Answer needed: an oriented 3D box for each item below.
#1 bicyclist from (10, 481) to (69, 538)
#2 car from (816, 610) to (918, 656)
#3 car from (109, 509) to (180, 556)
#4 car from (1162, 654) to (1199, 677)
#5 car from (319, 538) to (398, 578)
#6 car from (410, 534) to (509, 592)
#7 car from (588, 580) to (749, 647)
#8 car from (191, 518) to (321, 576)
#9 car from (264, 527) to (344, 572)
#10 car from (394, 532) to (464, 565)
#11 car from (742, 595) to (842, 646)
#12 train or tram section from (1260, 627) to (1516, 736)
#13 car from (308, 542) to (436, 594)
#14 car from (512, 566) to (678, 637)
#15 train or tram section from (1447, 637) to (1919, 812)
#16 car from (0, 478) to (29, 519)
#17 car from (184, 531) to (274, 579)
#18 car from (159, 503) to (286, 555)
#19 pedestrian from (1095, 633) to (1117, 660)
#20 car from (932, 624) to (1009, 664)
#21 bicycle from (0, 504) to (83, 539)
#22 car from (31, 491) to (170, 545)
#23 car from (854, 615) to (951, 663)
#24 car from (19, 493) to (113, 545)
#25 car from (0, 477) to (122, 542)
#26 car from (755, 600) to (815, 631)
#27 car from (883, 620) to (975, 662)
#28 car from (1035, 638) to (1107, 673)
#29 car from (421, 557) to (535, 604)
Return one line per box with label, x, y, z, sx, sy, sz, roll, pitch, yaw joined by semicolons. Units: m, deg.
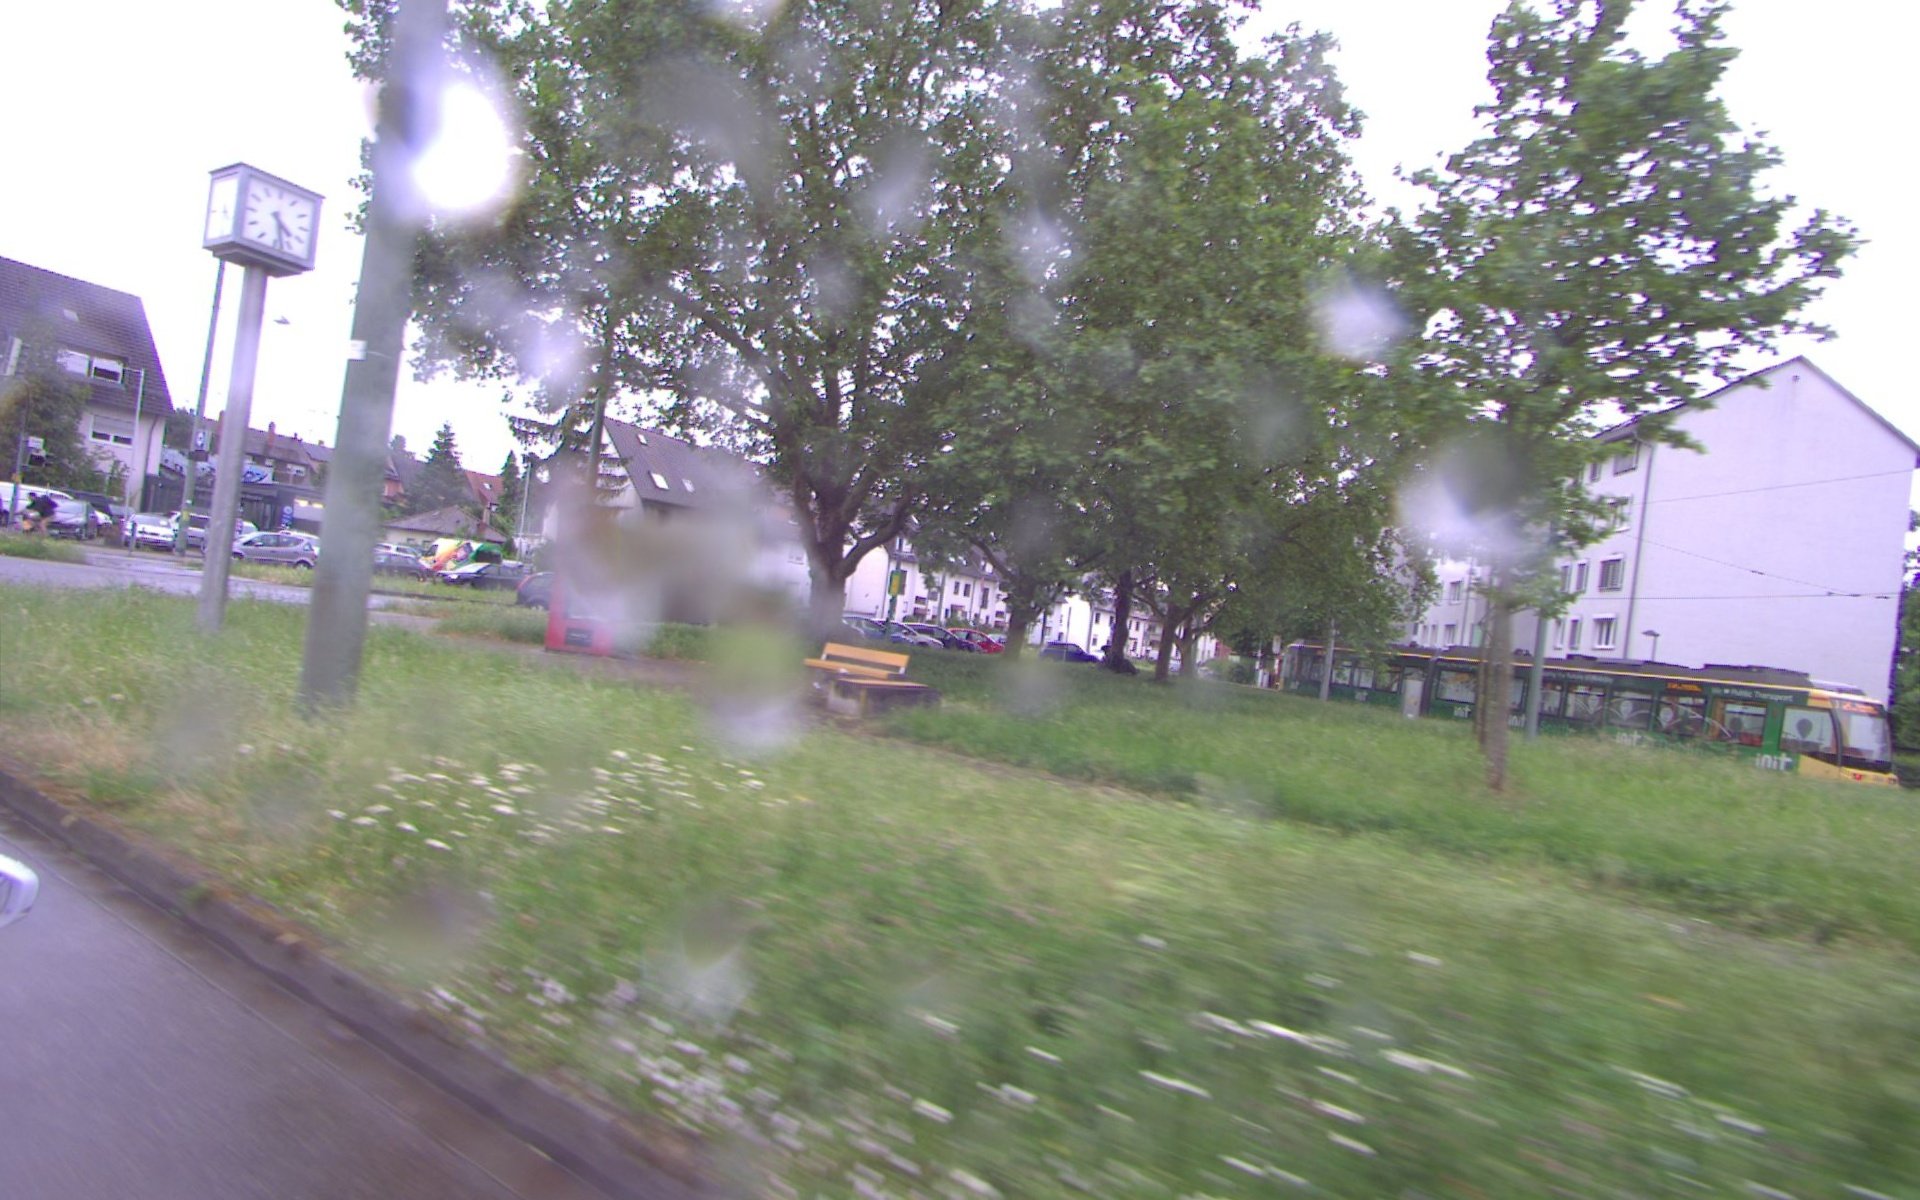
bicyclist;-29.382;-2.885;32.126;0.933;1.617;1.041;7;0;29
car;-3.767;1.350;40.899;3.928;1.518;1.824;5;-2;-6
car;-33.516;-2.782;41.314;1.824;1.520;4.009;11;-4;-43
car;19.149;5.666;87.099;1.928;1.570;3.998;5;-3;29
car;-29.314;-2.048;49.025;3.780;1.411;1.721;7;-3;34
car;-27.483;-2.027;55.223;5.062;2.432;2.151;7;-3;31
car;-9.313;0.450;32.345;4.464;1.494;1.805;8;-1;5
car;-27.431;-2.029;39.286;1.693;1.520;3.644;7;-3;29
car;-30.526;-2.371;46.812;3.559;1.590;1.721;7;-3;34
car;-36.079;-3.464;68.472;1.759;1.599;4.452;7;-2;9
car;-6.307;0.793;38.070;3.454;1.523;1.755;6;-2;-5
train or tram section;19.343;3.484;47.511;2.672;3.630;14.708;9;-2;-12
car;-25.234;-1.339;43.320;1.694;1.352;4.389;7;-4;31
car;-10.756;0.066;29.844;4.100;1.494;1.805;8;-1;1
train or tram section;22.444;3.497;33.112;2.672;3.630;14.708;9;-2;-12
car;-44.900;-4.864;44.898;1.968;1.707;4.439;6;-2;33
car;-31.968;-1.982;43.950;3.808;1.598;1.804;7;0;32
car;-34.819;-3.328;47.607;1.732;1.707;4.439;6;-2;33
pedestrian;10.113;3.235;69.637;1.029;1.734;1.080;6;-1;27
car;0.542;2.139;49.039;3.530;1.498;1.639;6;-1;5
bicycle;-29.418;-2.496;32.167;0.926;0.796;1.817;7;-1;29
car;-39.747;-3.766;46.623;1.968;1.707;4.439;6;-2;33
car;-2.502;1.676;43.384;3.930;1.570;1.961;7;-3;-7
car;-34.861;-3.098;39.332;1.816;1.520;4.027;10;-3;-31
car;-38.446;-3.822;42.275;1.968;2.037;4.439;6;-2;33
car;-11.533;1.075;66.563;1.579;1.439;3.943;7;-4;31
car;-1.413;1.873;46.300;4.046;1.497;1.867;6;-1;-1
car;6.534;3.260;59.504;3.926;1.501;1.999;7;0;-1
car;-21.139;-0.823;44.274;1.966;1.493;3.996;7;-1;29
